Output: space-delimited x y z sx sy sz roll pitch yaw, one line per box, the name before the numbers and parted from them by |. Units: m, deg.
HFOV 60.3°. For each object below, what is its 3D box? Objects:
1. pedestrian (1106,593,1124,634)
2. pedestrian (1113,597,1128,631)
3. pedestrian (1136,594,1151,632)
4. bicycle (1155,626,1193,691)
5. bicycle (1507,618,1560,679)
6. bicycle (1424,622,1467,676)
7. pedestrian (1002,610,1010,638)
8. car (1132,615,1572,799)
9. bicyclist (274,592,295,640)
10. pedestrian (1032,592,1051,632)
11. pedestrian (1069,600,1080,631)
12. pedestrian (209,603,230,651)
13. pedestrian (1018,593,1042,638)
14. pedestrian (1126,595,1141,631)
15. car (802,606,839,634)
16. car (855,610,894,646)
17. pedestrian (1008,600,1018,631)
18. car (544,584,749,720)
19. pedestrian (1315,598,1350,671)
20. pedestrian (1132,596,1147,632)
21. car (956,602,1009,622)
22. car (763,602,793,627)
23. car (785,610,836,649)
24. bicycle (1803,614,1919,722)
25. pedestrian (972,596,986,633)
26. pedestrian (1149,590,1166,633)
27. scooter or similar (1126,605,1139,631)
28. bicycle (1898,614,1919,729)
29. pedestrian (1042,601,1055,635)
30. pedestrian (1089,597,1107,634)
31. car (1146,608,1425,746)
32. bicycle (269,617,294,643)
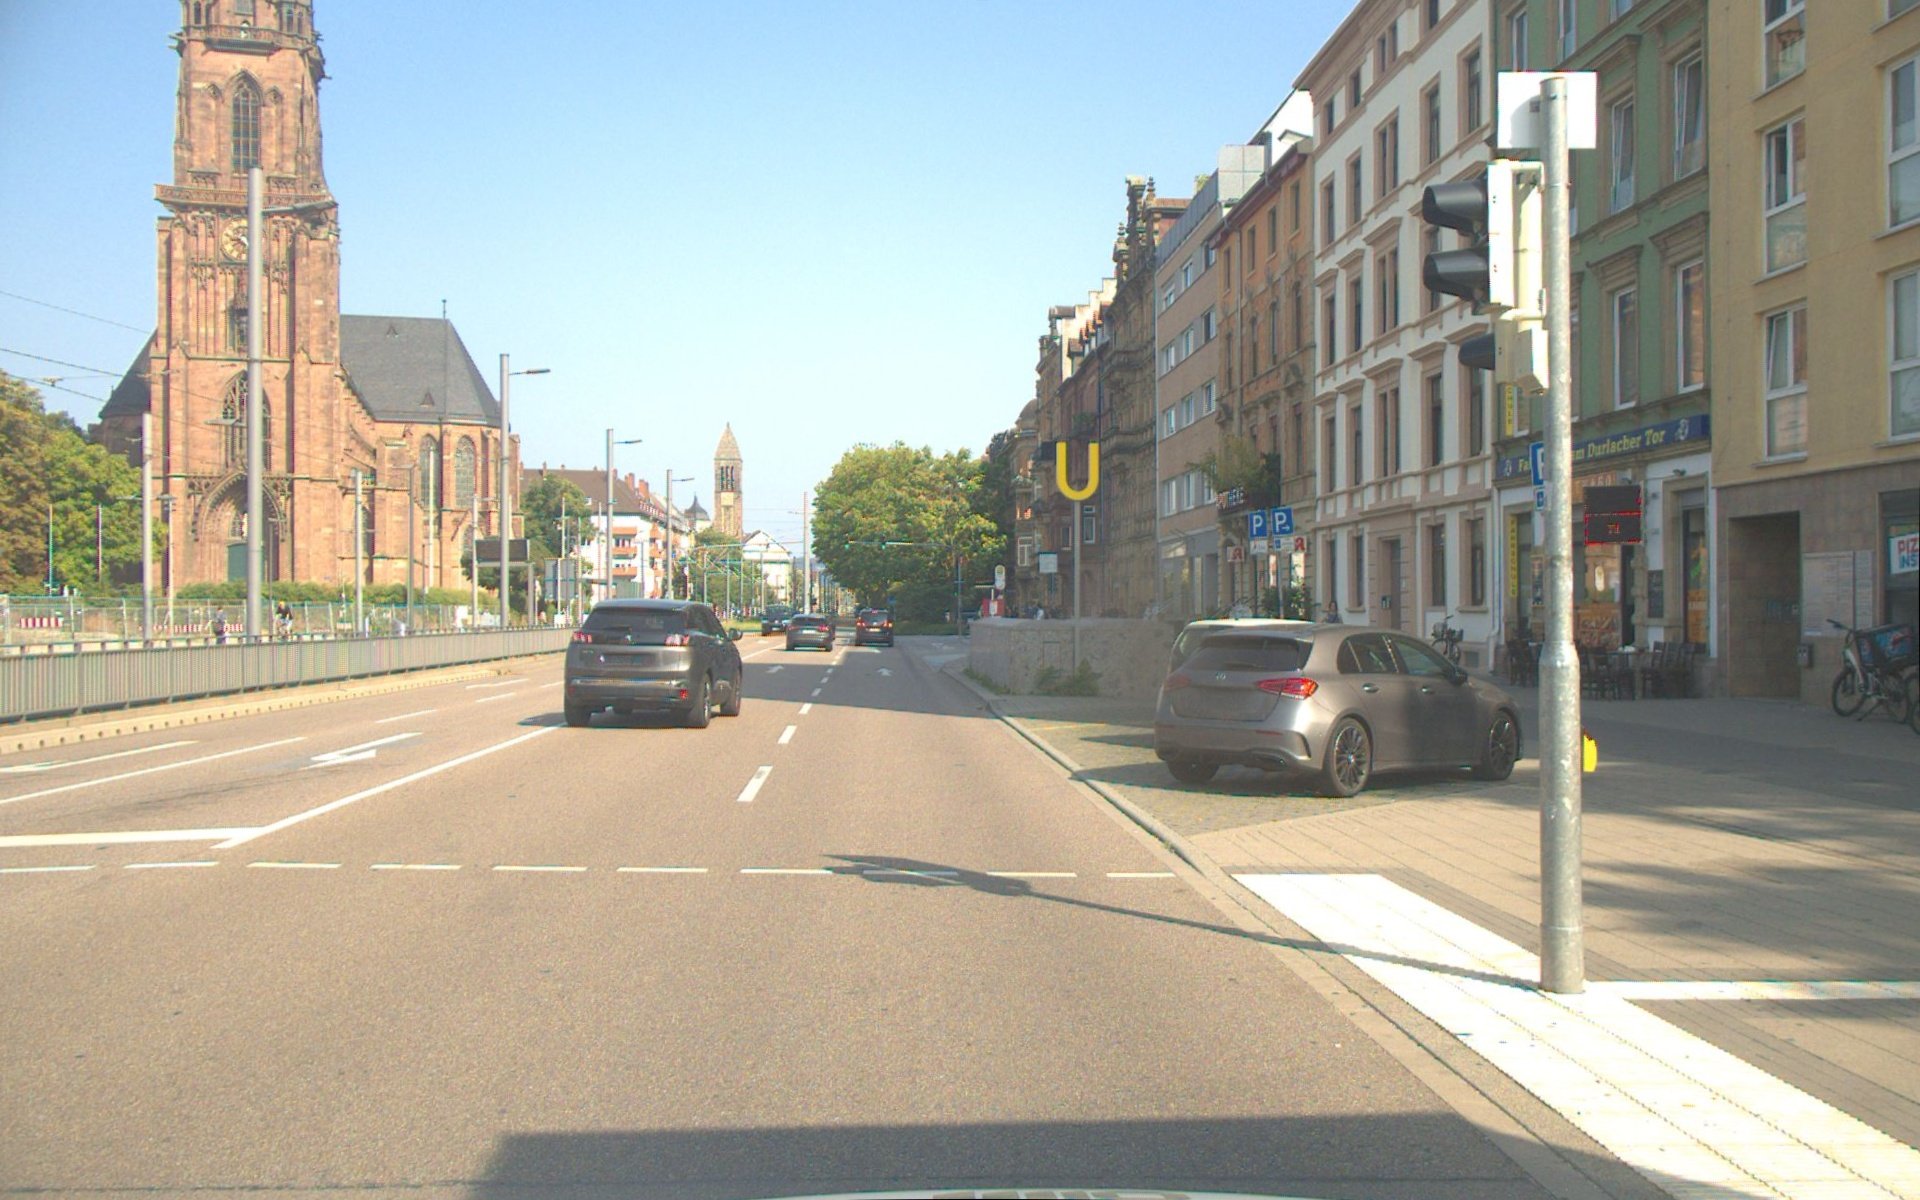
pedestrian | 6.995 0.609 74.761 0.705 1.819 0.856 0 0 -2
pedestrian | 7.913 0.675 81.605 0.592 1.683 0.586 0 0 -7
pedestrian | 8.654 0.616 77.814 0.592 1.762 0.510 0 0 -7
bicycle | 3.970 1.064 30.739 0.376 1.154 1.789 0 0 -3
bicycle | 11.308 0.948 32.651 0.376 1.154 1.718 0 0 -3
bicycle | 10.858 1.079 37.052 0.376 1.154 1.718 0 0 -3
pedestrian | 2.133 1.109 77.183 0.270 1.296 0.447 0 0 -10
car | 3.701 0.861 15.173 4.372 1.448 1.819 1 -1 -43
bicyclist | -25.681 0.606 62.890 0.477 1.778 0.819 0 0 -3
pedestrian | 3.669 0.542 74.146 0.735 1.759 0.800 0 0 -7
pedestrian | 6.239 0.842 90.114 0.476 1.638 0.812 0 0 -2
pedestrian | -26.950 0.962 60.210 0.507 1.730 0.664 0 0 -4
pedestrian | 2.969 0.657 70.517 0.907 1.864 0.800 0 0 -7
pedestrian | 8.340 0.639 79.560 0.592 1.721 0.586 0 0 -7
car | -7.632 1.098 90.820 1.827 1.449 4.354 1 0 -3
car | -4.100 1.323 79.266 1.795 1.649 4.354 1 0 -3
pedestrian | 3.003 0.890 94.195 0.472 1.732 0.702 0 0 -7
car | -4.099 0.633 22.361 1.953 1.649 4.356 0 0 0
pedestrian | 8.572 0.778 38.069 0.596 1.657 0.737 0 0 -3
pedestrian | 8.529 0.675 78.633 0.592 1.721 0.586 0 0 -7
car | 1.829 0.977 135.033 4.101 1.591 1.997 0 0 -8
car | -11.619 0.902 105.677 1.706 1.553 3.870 0 0 -4
car | -5.943 1.162 65.957 1.827 1.449 4.354 1 0 -3
bicycle | 11.525 0.827 20.937 0.590 1.283 1.996 0 0 -3
pedestrian | 0.928 0.699 80.087 0.554 1.759 0.744 0 0 -7
pedestrian | 8.576 0.498 71.766 0.592 1.864 0.741 0 0 -7
scooter or similar | 7.992 0.836 76.591 0.353 1.183 1.151 0 0 -6
bicycle | 11.192 0.803 17.964 0.591 1.283 1.992 0 0 -11
pedestrian | 4.838 0.962 90.004 0.604 1.836 1.071 0 0 -2
pedestrian | 6.220 0.704 74.747 0.705 1.638 0.856 0 0 -2
car | 3.908 0.843 19.572 1.596 1.489 3.503 -1 -1 45
bicycle | -25.751 1.134 62.775 0.343 0.970 1.694 0 0 -3
